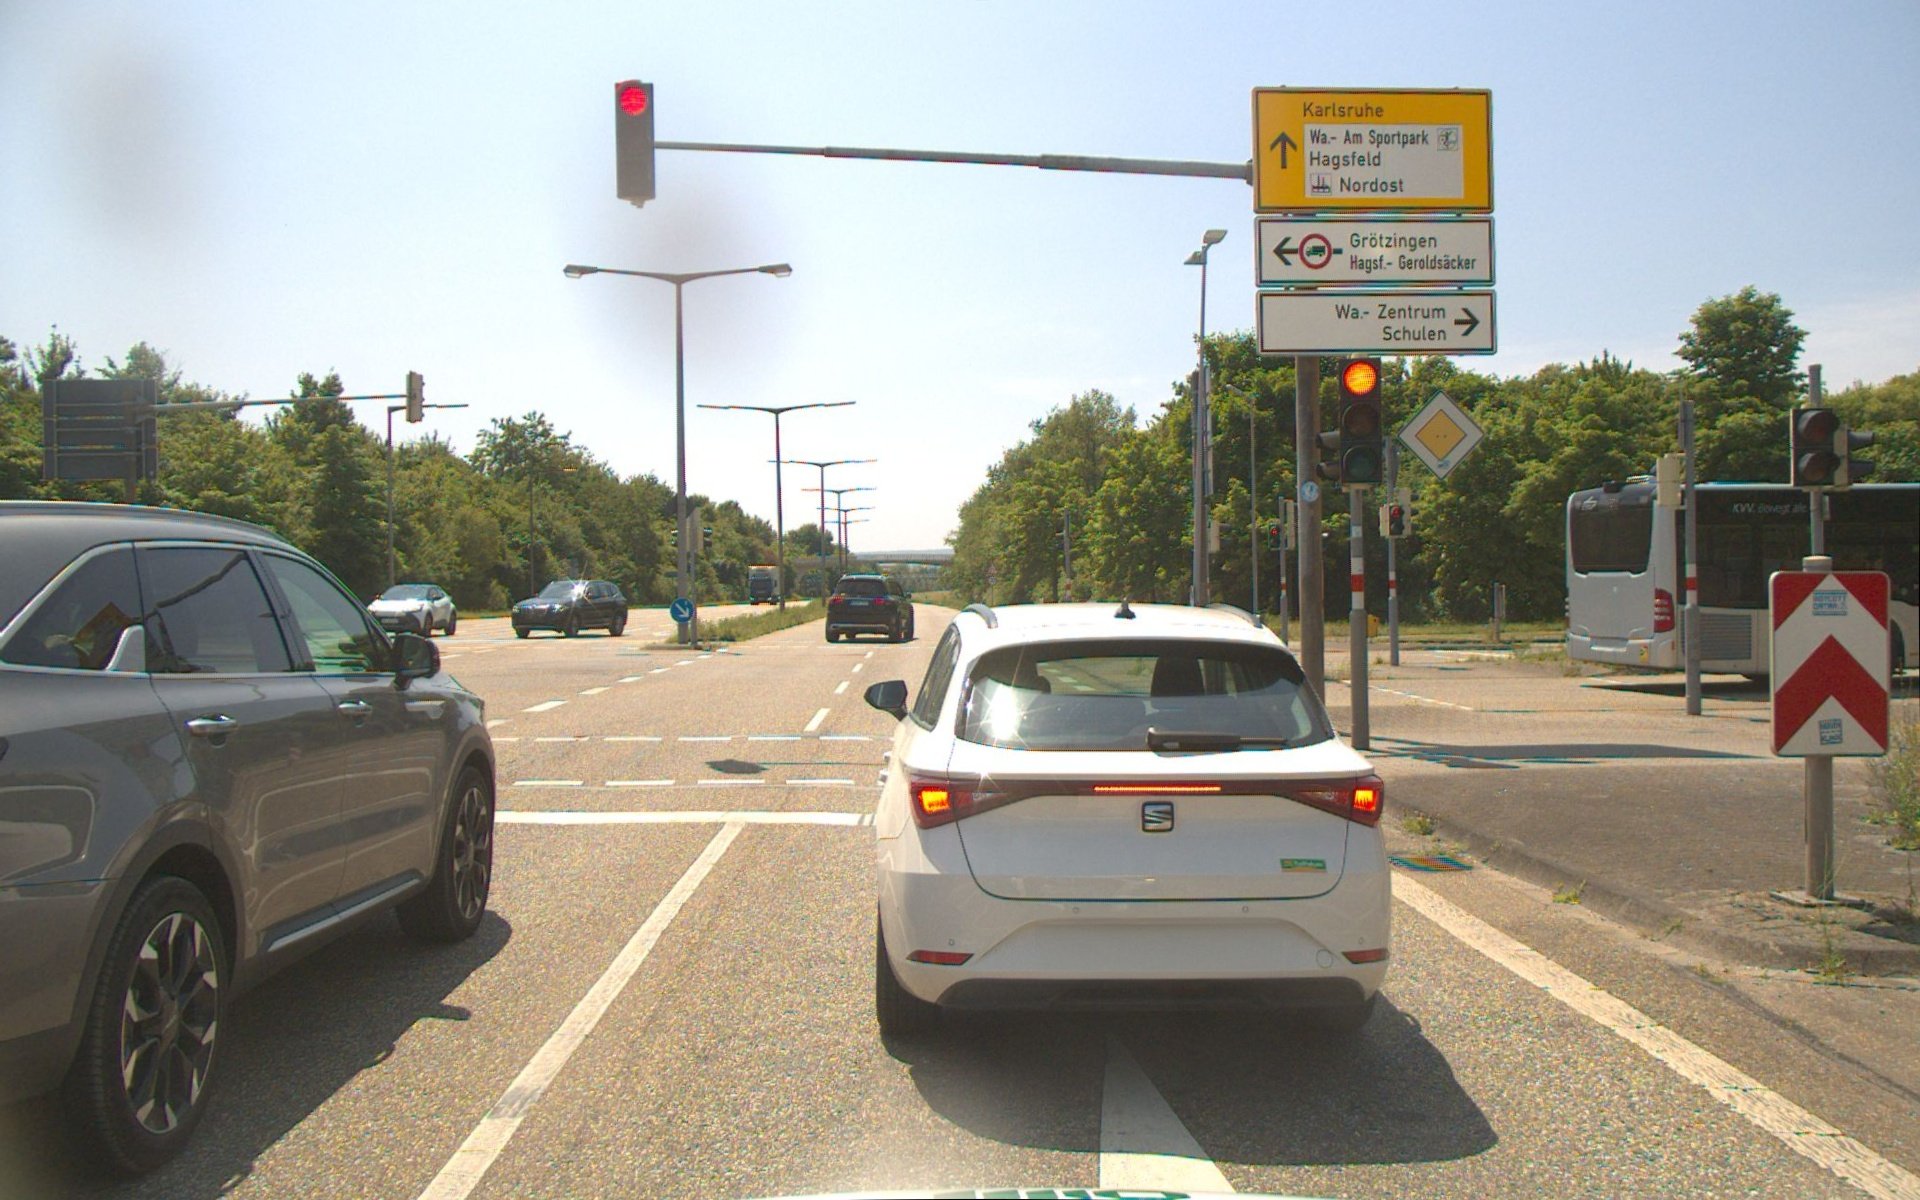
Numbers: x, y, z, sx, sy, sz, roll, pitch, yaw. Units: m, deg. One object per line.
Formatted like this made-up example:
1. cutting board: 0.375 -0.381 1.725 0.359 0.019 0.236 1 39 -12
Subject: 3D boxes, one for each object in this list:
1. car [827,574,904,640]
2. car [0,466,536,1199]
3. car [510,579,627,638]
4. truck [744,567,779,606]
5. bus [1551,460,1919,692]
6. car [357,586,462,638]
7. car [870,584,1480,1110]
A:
1. car: -2.604 0.177 46.233 1.816 1.738 4.001 -1 1 1
2. car: -2.856 0.575 5.458 1.767 1.691 4.643 -1 0 -1
3. car: -11.776 0.221 50.083 1.670 1.692 4.226 -1 1 14
4. truck: -18.982 -1.331 158.287 2.633 3.633 7.266 0 1 -1
5. bus: 14.970 -0.422 24.876 11.827 3.140 2.624 -1 0 -12
6. car: -16.635 0.335 50.160 1.785 1.481 4.168 -1 1 0
7. car: 0.583 0.703 6.497 1.699 1.453 3.693 1 0 -1
